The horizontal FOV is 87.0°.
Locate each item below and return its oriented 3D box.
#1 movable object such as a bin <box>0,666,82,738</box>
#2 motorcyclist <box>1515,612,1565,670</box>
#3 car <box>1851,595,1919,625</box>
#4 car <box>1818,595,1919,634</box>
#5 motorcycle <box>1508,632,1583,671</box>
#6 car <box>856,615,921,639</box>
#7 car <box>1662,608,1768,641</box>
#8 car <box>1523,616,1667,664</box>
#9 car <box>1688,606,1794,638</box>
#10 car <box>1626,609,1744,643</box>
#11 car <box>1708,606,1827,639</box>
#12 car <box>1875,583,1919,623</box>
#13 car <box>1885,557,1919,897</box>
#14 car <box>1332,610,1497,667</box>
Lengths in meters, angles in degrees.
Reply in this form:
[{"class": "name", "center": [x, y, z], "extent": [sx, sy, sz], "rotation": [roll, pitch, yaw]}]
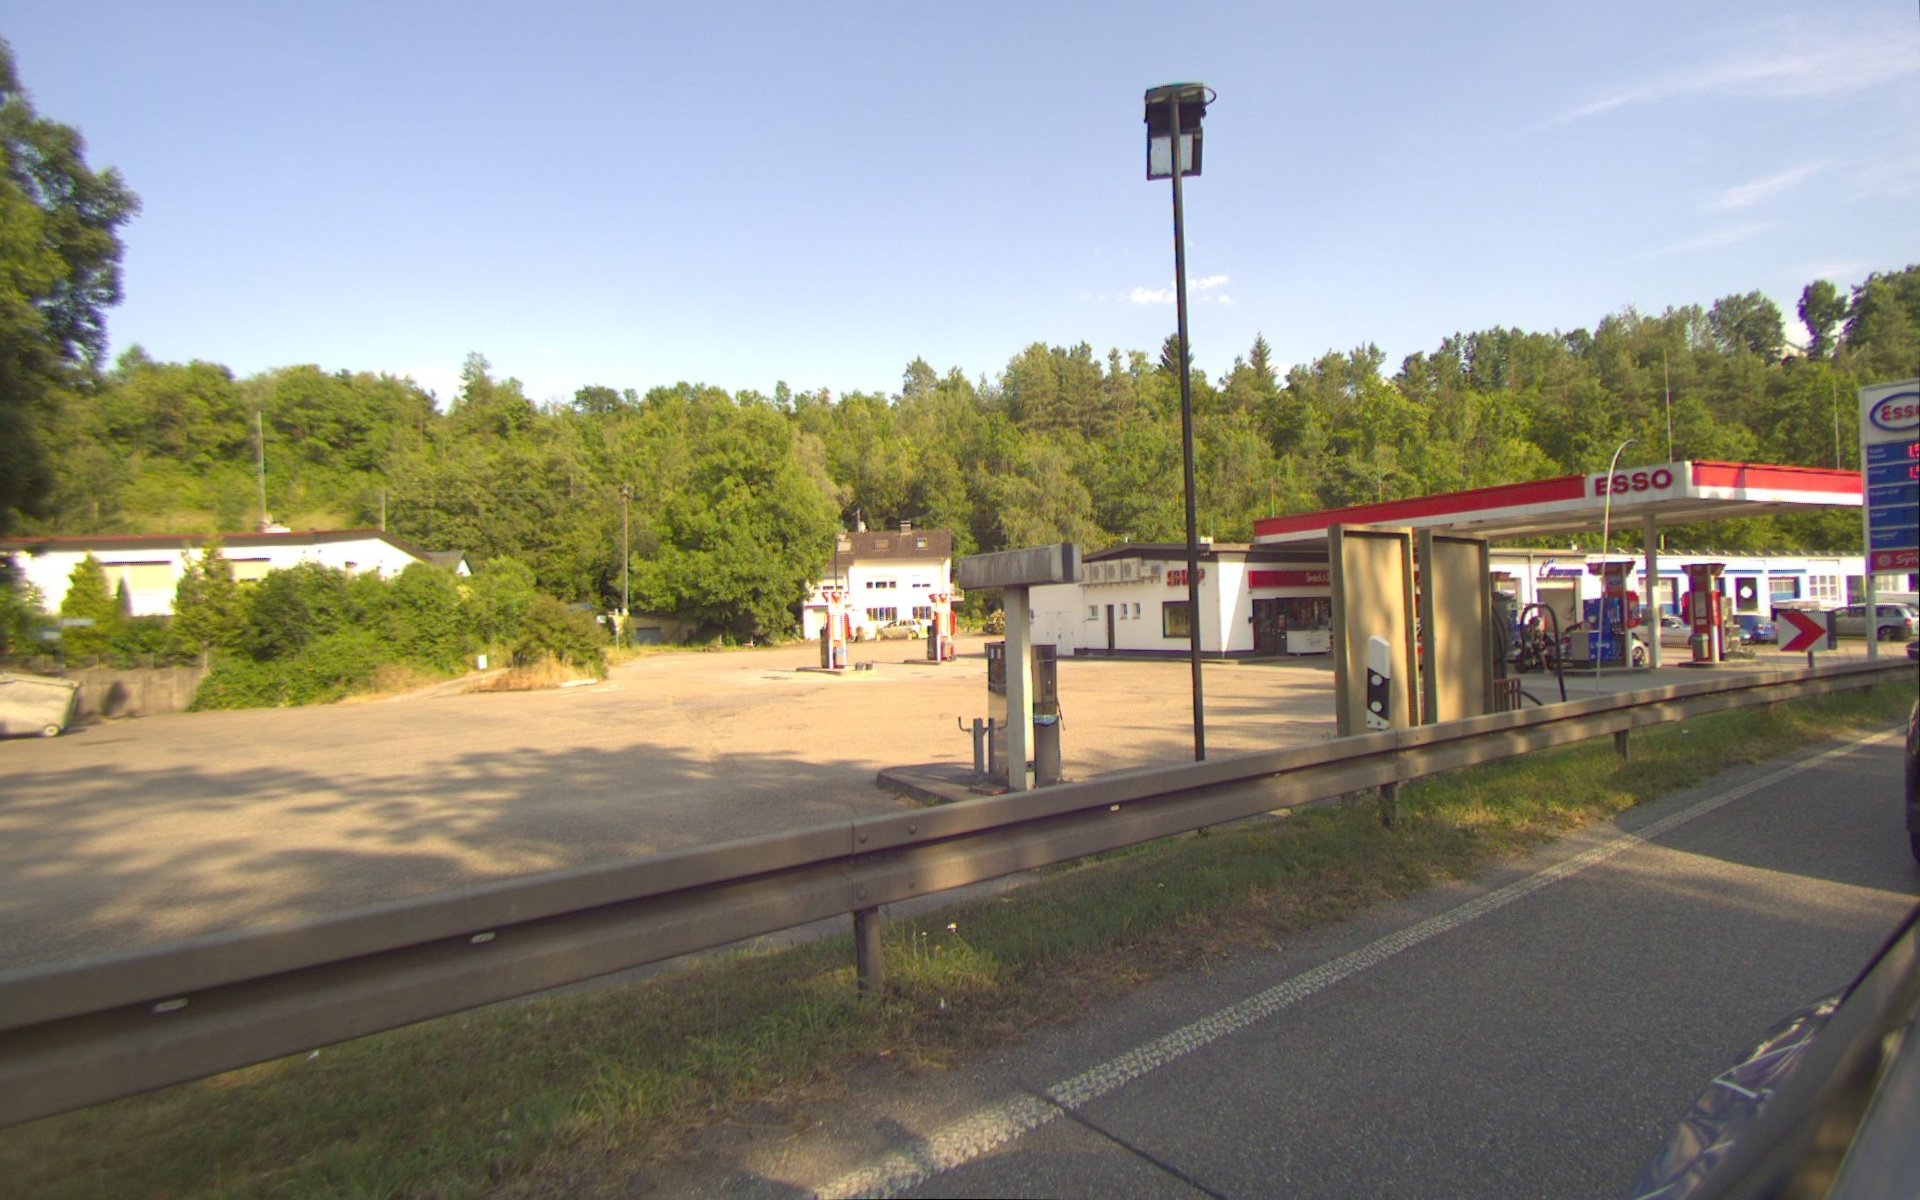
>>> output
[{"class": "movable object such as a bin", "center": [-20.407, 2.190, 21.574], "extent": [2.512, 1.439, 1.267], "rotation": [0, -4, -41]}, {"class": "motorcyclist", "center": [16.928, 1.181, 29.549], "extent": [0.909, 1.625, 0.862], "rotation": [0, -1, -27]}, {"class": "car", "center": [52.778, 0.540, 56.447], "extent": [1.856, 1.631, 4.261], "rotation": [-1, 1, -26]}, {"class": "car", "center": [46.247, 0.702, 50.940], "extent": [1.854, 1.750, 4.267], "rotation": [-1, 2, -29]}, {"class": "motorcycle", "center": [17.146, 1.489, 29.643], "extent": [2.293, 1.025, 0.765], "rotation": [-1, -1, -27]}, {"class": "car", "center": [-5.689, 2.173, 81.465], "extent": [5.068, 1.860, 2.701], "rotation": [-1, -1, 0]}, {"class": "car", "center": [34.917, 1.119, 46.871], "extent": [1.656, 1.424, 3.566], "rotation": [-1, 0, -26]}, {"class": "car", "center": [19.929, 1.209, 31.749], "extent": [4.299, 1.336, 1.851], "rotation": [-1, -1, -26]}, {"class": "car", "center": [36.862, 1.017, 47.860], "extent": [1.698, 1.464, 3.560], "rotation": [-1, -1, -26]}, {"class": "car", "center": [32.678, 1.139, 45.724], "extent": [1.741, 1.371, 3.973], "rotation": [-1, 1, -30]}, {"class": "car", "center": [38.777, 1.047, 48.689], "extent": [1.856, 1.365, 4.087], "rotation": [-1, 2, -26]}, {"class": "car", "center": [56.954, 0.161, 58.537], "extent": [2.248, 2.302, 5.500], "rotation": [0, 1, -26]}, {"class": "car", "center": [6.902, 0.610, 5.614], "extent": [4.359, 1.661, 1.860], "rotation": [0, 0, -37]}, {"class": "car", "center": [14.596, 1.178, 32.465], "extent": [5.074, 1.649, 2.102], "rotation": [-1, -1, -28]}]
